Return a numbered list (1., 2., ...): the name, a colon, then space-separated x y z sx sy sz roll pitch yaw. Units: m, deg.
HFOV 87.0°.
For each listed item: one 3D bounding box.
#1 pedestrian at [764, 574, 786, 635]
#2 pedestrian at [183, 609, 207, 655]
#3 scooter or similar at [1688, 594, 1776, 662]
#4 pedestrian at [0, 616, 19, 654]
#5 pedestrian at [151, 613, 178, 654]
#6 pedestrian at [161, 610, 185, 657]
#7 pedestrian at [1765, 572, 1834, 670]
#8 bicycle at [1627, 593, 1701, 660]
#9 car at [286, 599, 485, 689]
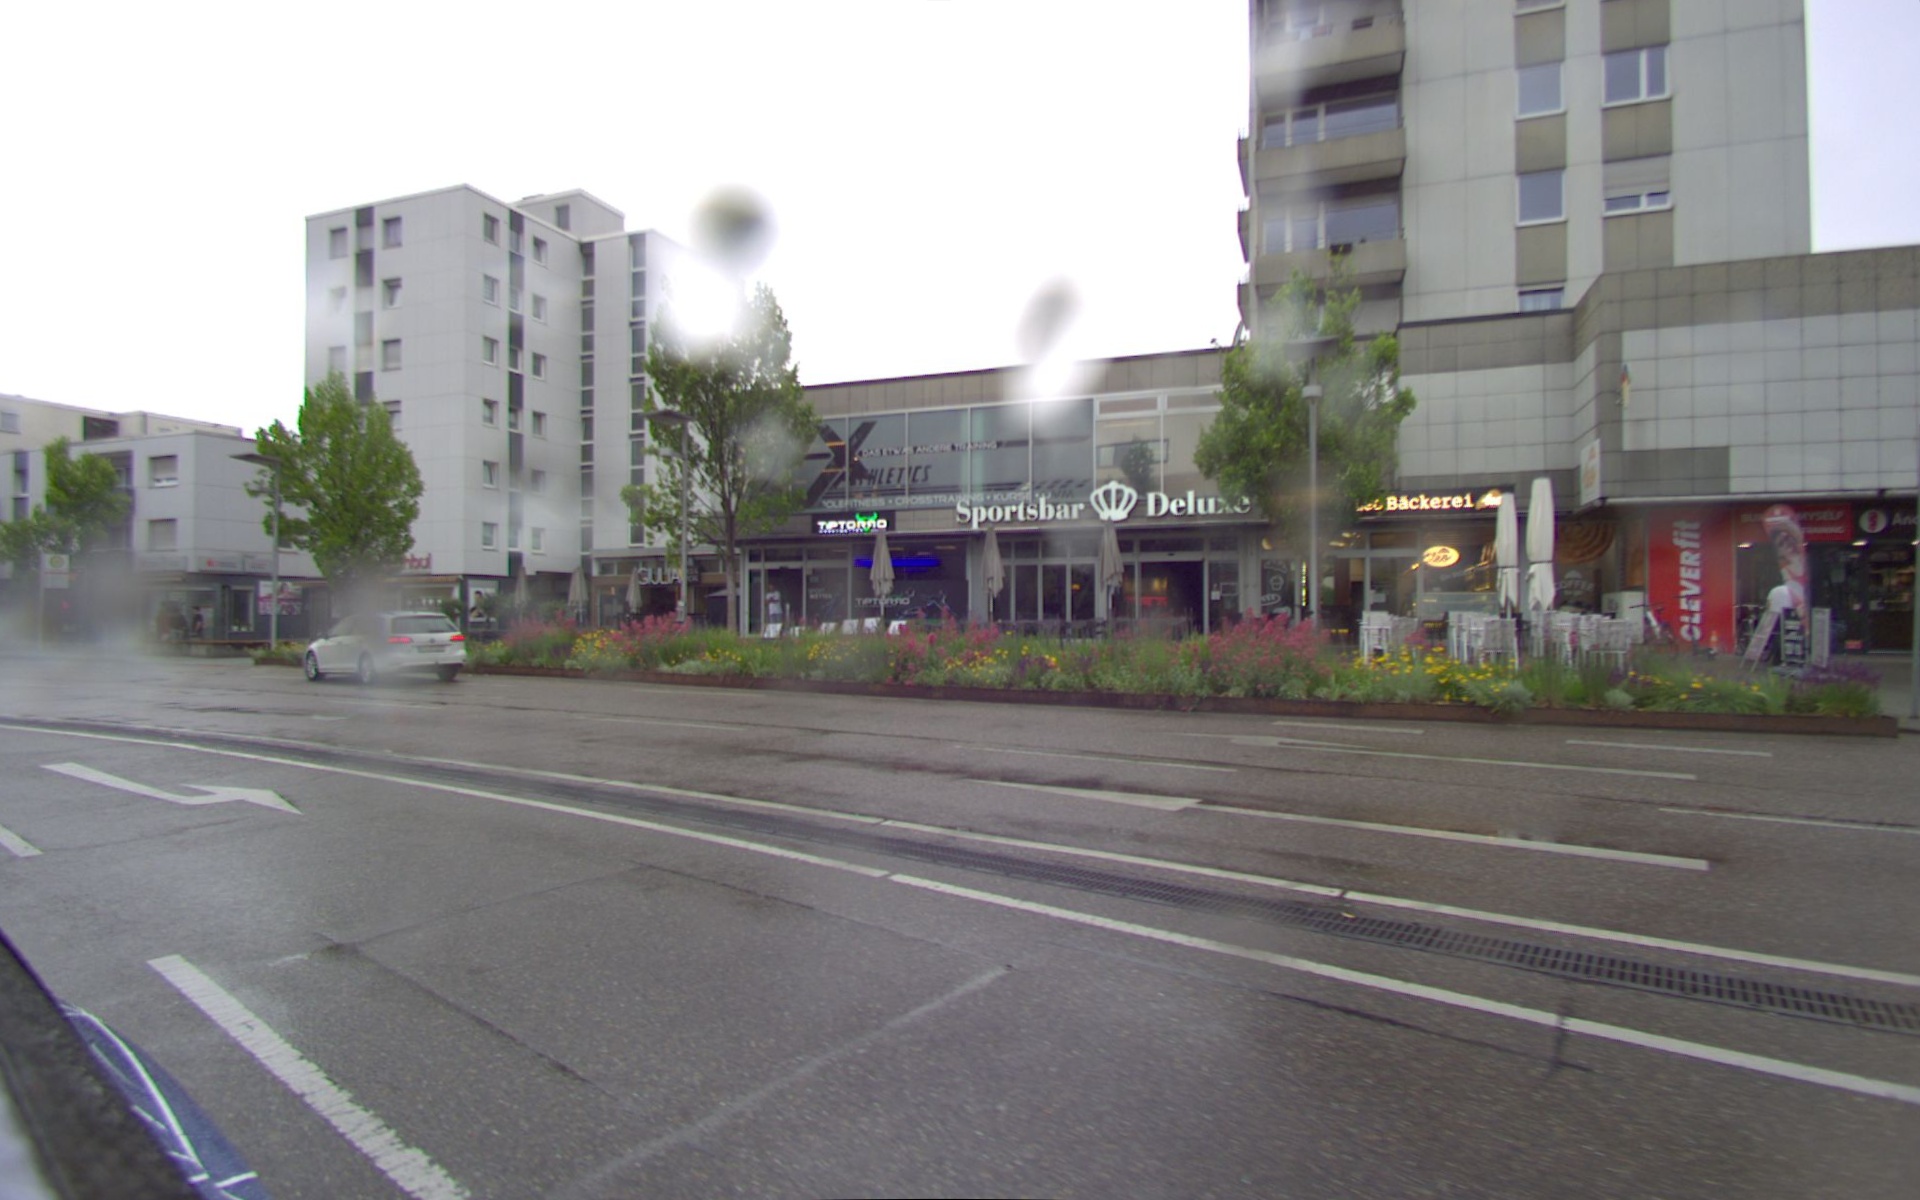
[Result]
1. pedestrian: -5.717 0.133 31.289 0.499 1.862 0.423 -1 -1 31
2. pedestrian: -27.937 1.154 36.960 0.477 1.672 0.532 -1 -1 26
3. scooter or similar: 14.291 0.495 18.814 0.639 1.183 2.573 -1 -1 22
4. pedestrian: -42.891 1.560 45.217 0.721 1.658 1.004 -1 0 20
5. pedestrian: -29.902 1.261 38.061 0.606 1.516 0.537 0 -1 -2
6. pedestrian: -28.224 1.193 36.294 0.533 1.672 0.476 -1 -1 22
7. pedestrian: 15.011 0.373 18.098 0.645 1.706 0.718 0 -1 -24
8. bicycle: 13.761 0.490 19.852 0.692 1.232 2.533 -1 -1 23
9. car: -12.096 0.858 21.212 4.494 1.695 1.870 -1 0 35
